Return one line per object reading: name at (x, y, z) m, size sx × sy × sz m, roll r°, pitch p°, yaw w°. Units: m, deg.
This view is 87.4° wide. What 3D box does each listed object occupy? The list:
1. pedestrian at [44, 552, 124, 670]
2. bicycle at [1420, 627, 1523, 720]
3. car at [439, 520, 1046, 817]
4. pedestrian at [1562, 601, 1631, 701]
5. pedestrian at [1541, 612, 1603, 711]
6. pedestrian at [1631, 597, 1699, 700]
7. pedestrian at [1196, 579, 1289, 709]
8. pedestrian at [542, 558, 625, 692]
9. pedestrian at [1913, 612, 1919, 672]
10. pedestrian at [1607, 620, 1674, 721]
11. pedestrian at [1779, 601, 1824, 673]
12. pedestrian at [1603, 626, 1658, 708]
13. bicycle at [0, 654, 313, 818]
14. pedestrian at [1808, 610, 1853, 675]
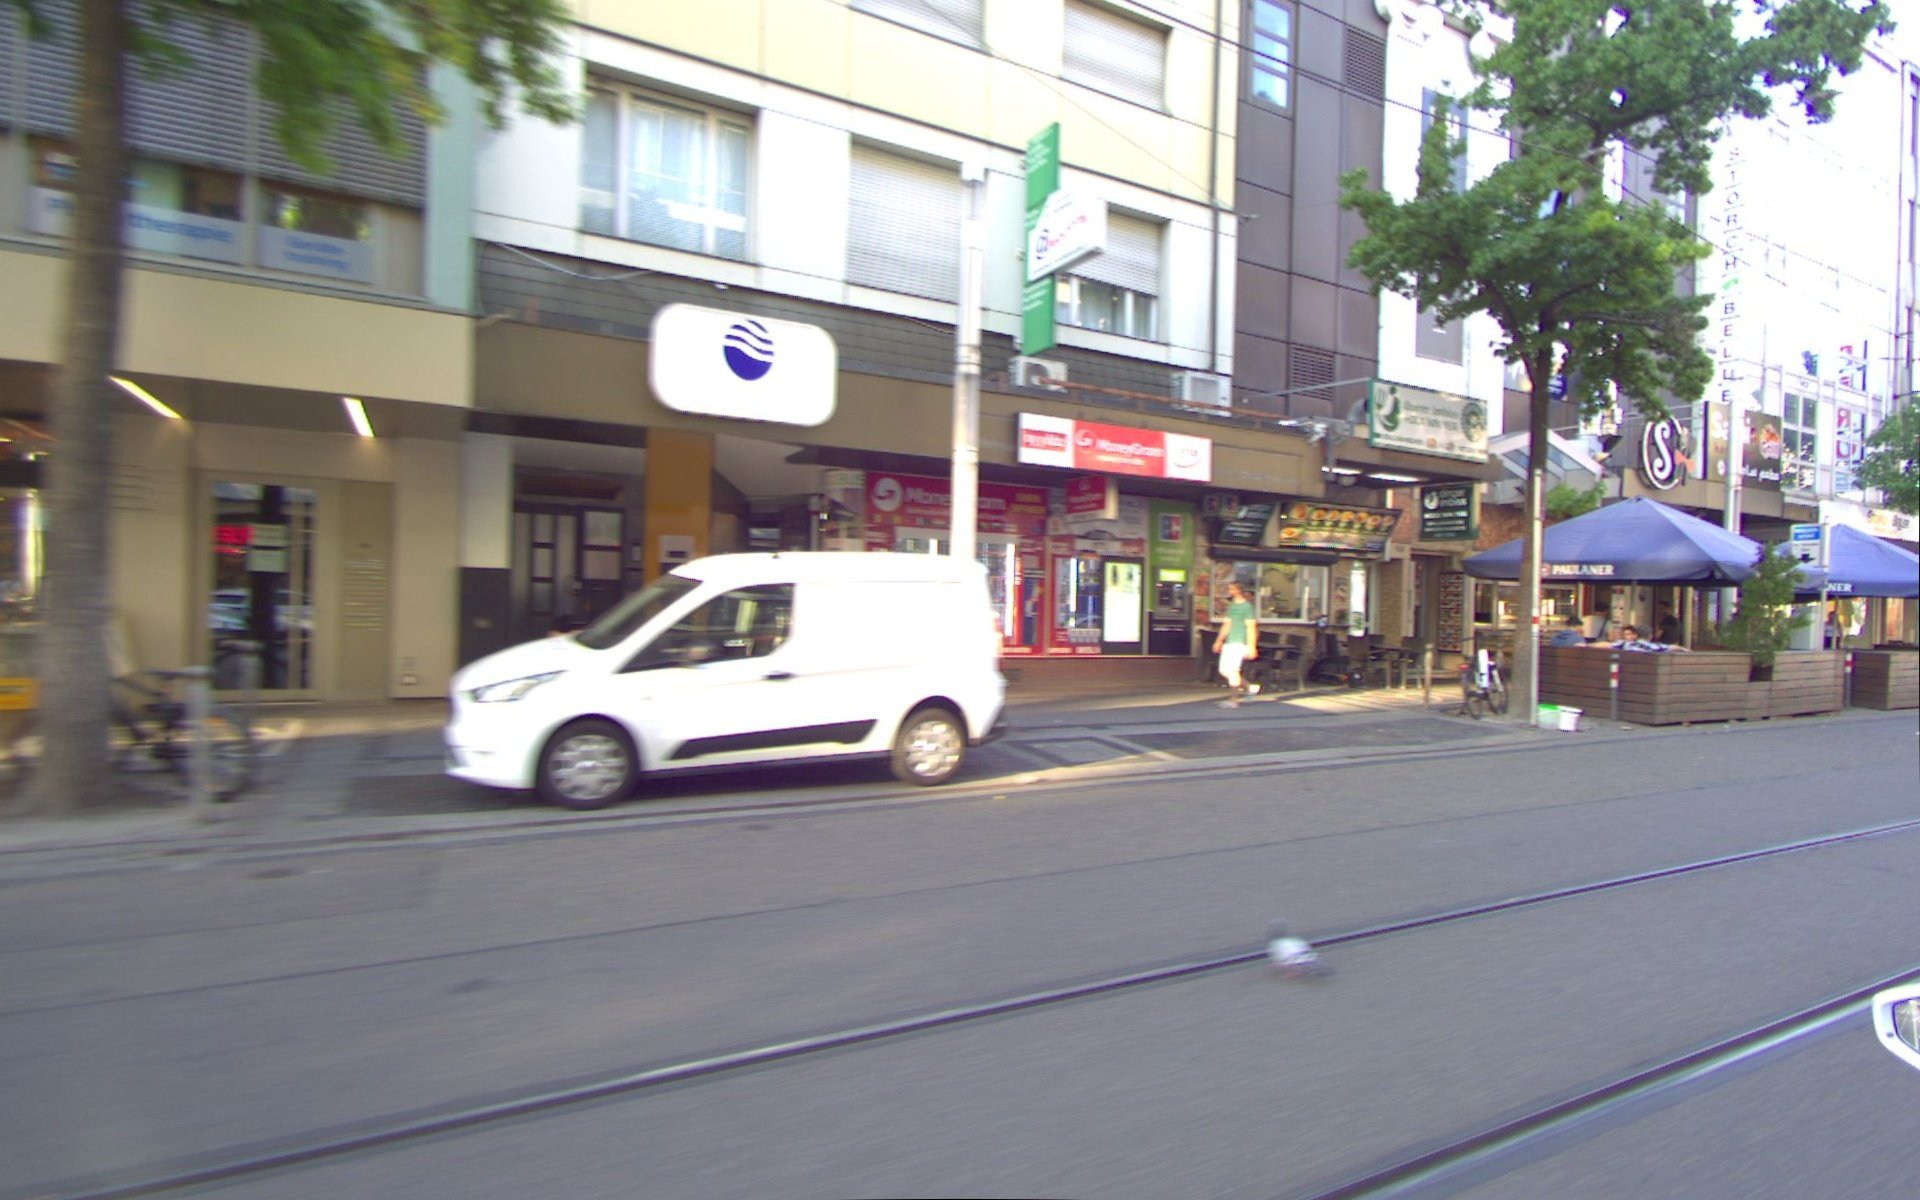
pedestrian at (-12.523, 0.151, 14.377) m, size 0.696 × 1.626 × 0.695 m, roll 1°, pitch 3°, yaw -27°
bicycle at (7.322, 1.000, 14.321) m, size 0.690 × 1.136 × 2.074 m, roll 5°, pitch 4°, yaw 43°
car at (-1.701, 0.442, 8.208) m, size 4.496 × 1.890 × 1.788 m, roll 1°, pitch 3°, yaw -28°
pedestrian at (10.749, 0.854, 16.970) m, size 0.711 × 1.628 × 0.670 m, roll 1°, pitch 1°, yaw -29°
pedestrian at (9.263, 0.916, 15.203) m, size 0.575 × 1.448 × 0.547 m, roll 1°, pitch 1°, yaw -29°
pedestrian at (12.372, 0.829, 17.635) m, size 0.667 × 1.748 × 0.714 m, roll 1°, pitch 1°, yaw -30°
pedestrian at (3.897, 0.595, 13.865) m, size 0.993 × 1.708 × 0.663 m, roll 1°, pitch 2°, yaw -29°
pedestrian at (-4.431, 0.278, 11.809) m, size 0.756 × 1.486 × 0.765 m, roll 1°, pitch 3°, yaw -31°
pedestrian at (27.075, 1.191, 27.662) m, size 0.748 × 1.660 × 0.850 m, roll 2°, pitch 2°, yaw -9°
pedestrian at (9.684, 0.990, 14.298) m, size 0.575 × 1.374 × 0.547 m, roll 1°, pitch 1°, yaw -29°
pedestrian at (21.315, 0.937, 25.444) m, size 0.663 × 1.769 × 0.594 m, roll 1°, pitch 2°, yaw -28°
pedestrian at (10.473, 1.035, 15.686) m, size 0.529 × 1.244 × 0.492 m, roll 1°, pitch 1°, yaw -29°
bicycle at (-5.595, 0.893, 6.916) m, size 1.822 × 0.876 × 0.837 m, roll 3°, pitch 2°, yaw 10°
pedestrian at (21.595, 1.046, 24.920) m, size 0.663 × 1.553 × 0.594 m, roll 1°, pitch 2°, yaw -28°
